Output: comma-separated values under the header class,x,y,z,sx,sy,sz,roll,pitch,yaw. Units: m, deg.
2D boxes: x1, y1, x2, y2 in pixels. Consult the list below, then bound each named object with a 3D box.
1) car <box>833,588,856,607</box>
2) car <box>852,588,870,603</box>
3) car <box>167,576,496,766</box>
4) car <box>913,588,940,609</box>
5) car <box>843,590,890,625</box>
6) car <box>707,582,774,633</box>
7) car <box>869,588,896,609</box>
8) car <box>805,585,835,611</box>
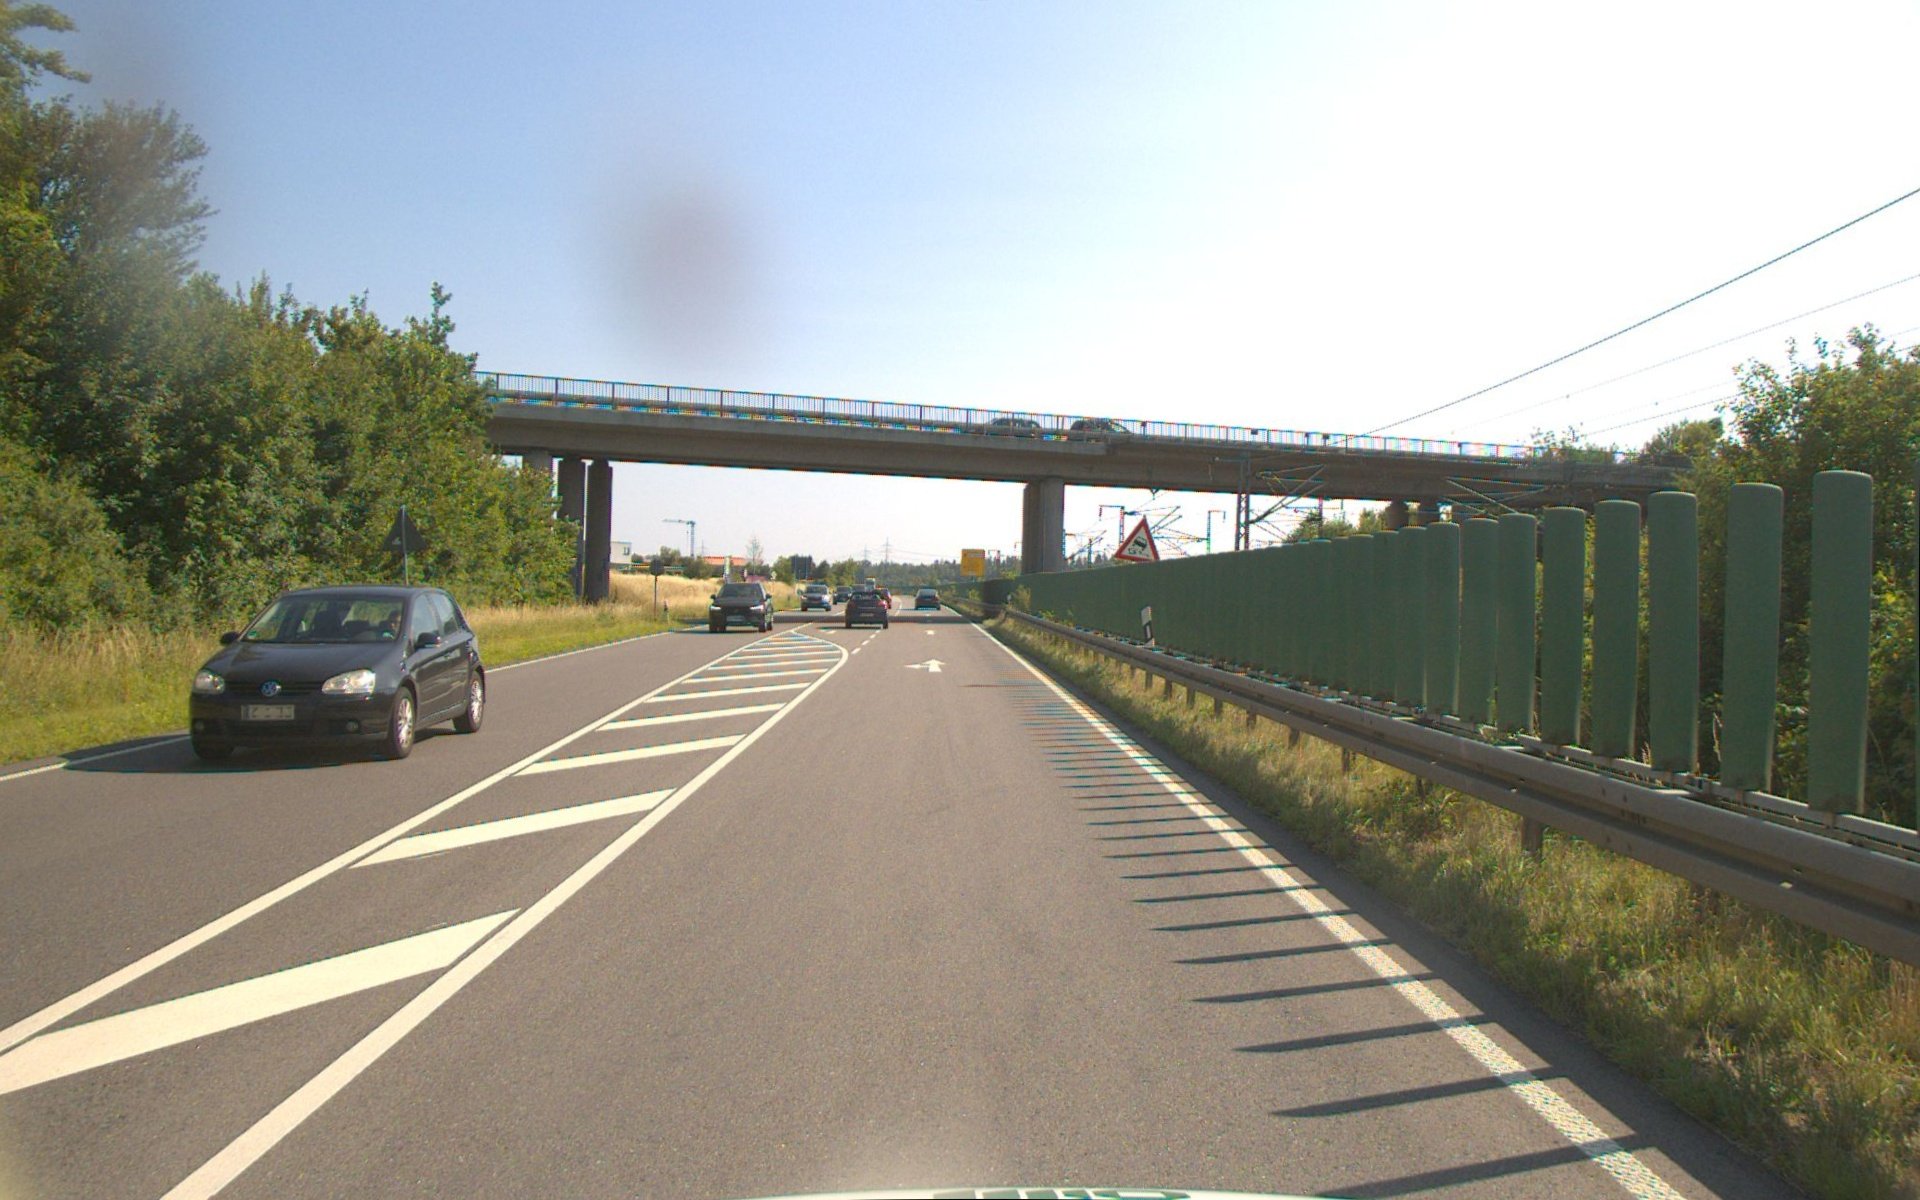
class,x,y,z,sx,sy,sz,roll,pitch,yaw
car,-10.275,-0.193,147.170,1.856,1.659,3.999,1,0,-1
car,-11.734,-0.525,196.084,1.856,1.659,3.999,1,0,-1
car,-5.578,0.559,15.225,1.715,1.507,3.997,1,0,-4
car,-2.361,-0.116,117.427,1.856,1.443,3.999,1,0,-1
car,-3.508,0.271,62.593,1.629,1.283,3.999,1,0,-1
car,-7.343,0.231,55.670,1.884,1.620,4.426,1,0,-4
car,-5.671,-0.109,122.024,1.856,1.443,3.999,1,0,-1
car,-8.994,-0.145,106.489,1.808,1.659,3.998,1,1,-3
